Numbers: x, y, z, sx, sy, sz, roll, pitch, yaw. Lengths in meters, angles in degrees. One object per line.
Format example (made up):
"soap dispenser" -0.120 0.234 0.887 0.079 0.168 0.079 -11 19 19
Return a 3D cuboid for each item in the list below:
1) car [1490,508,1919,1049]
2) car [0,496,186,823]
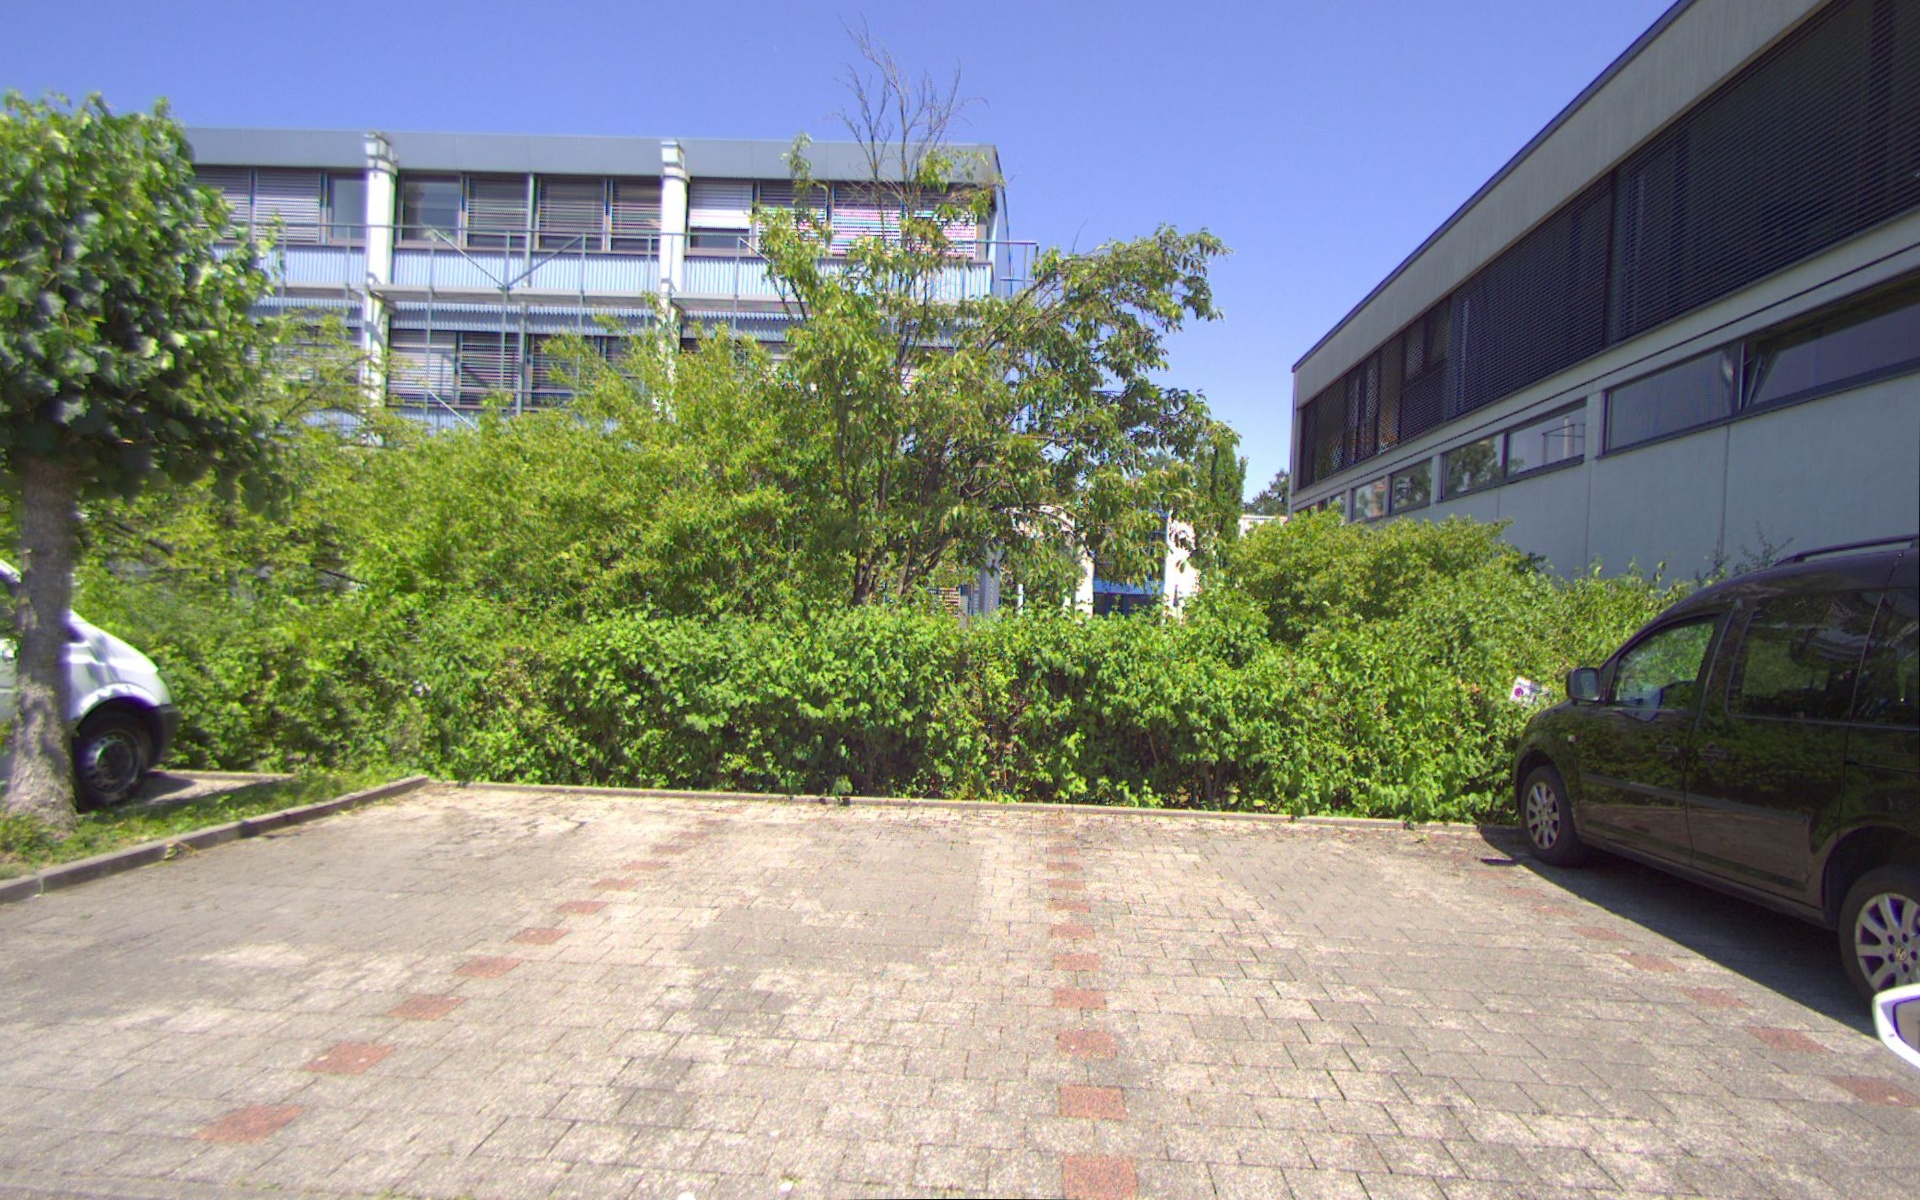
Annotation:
"car" 4.341 0.664 4.843 1.645 1.909 4.073 2 0 5
"car" -6.603 0.319 4.890 1.793 1.931 4.737 2 0 3
